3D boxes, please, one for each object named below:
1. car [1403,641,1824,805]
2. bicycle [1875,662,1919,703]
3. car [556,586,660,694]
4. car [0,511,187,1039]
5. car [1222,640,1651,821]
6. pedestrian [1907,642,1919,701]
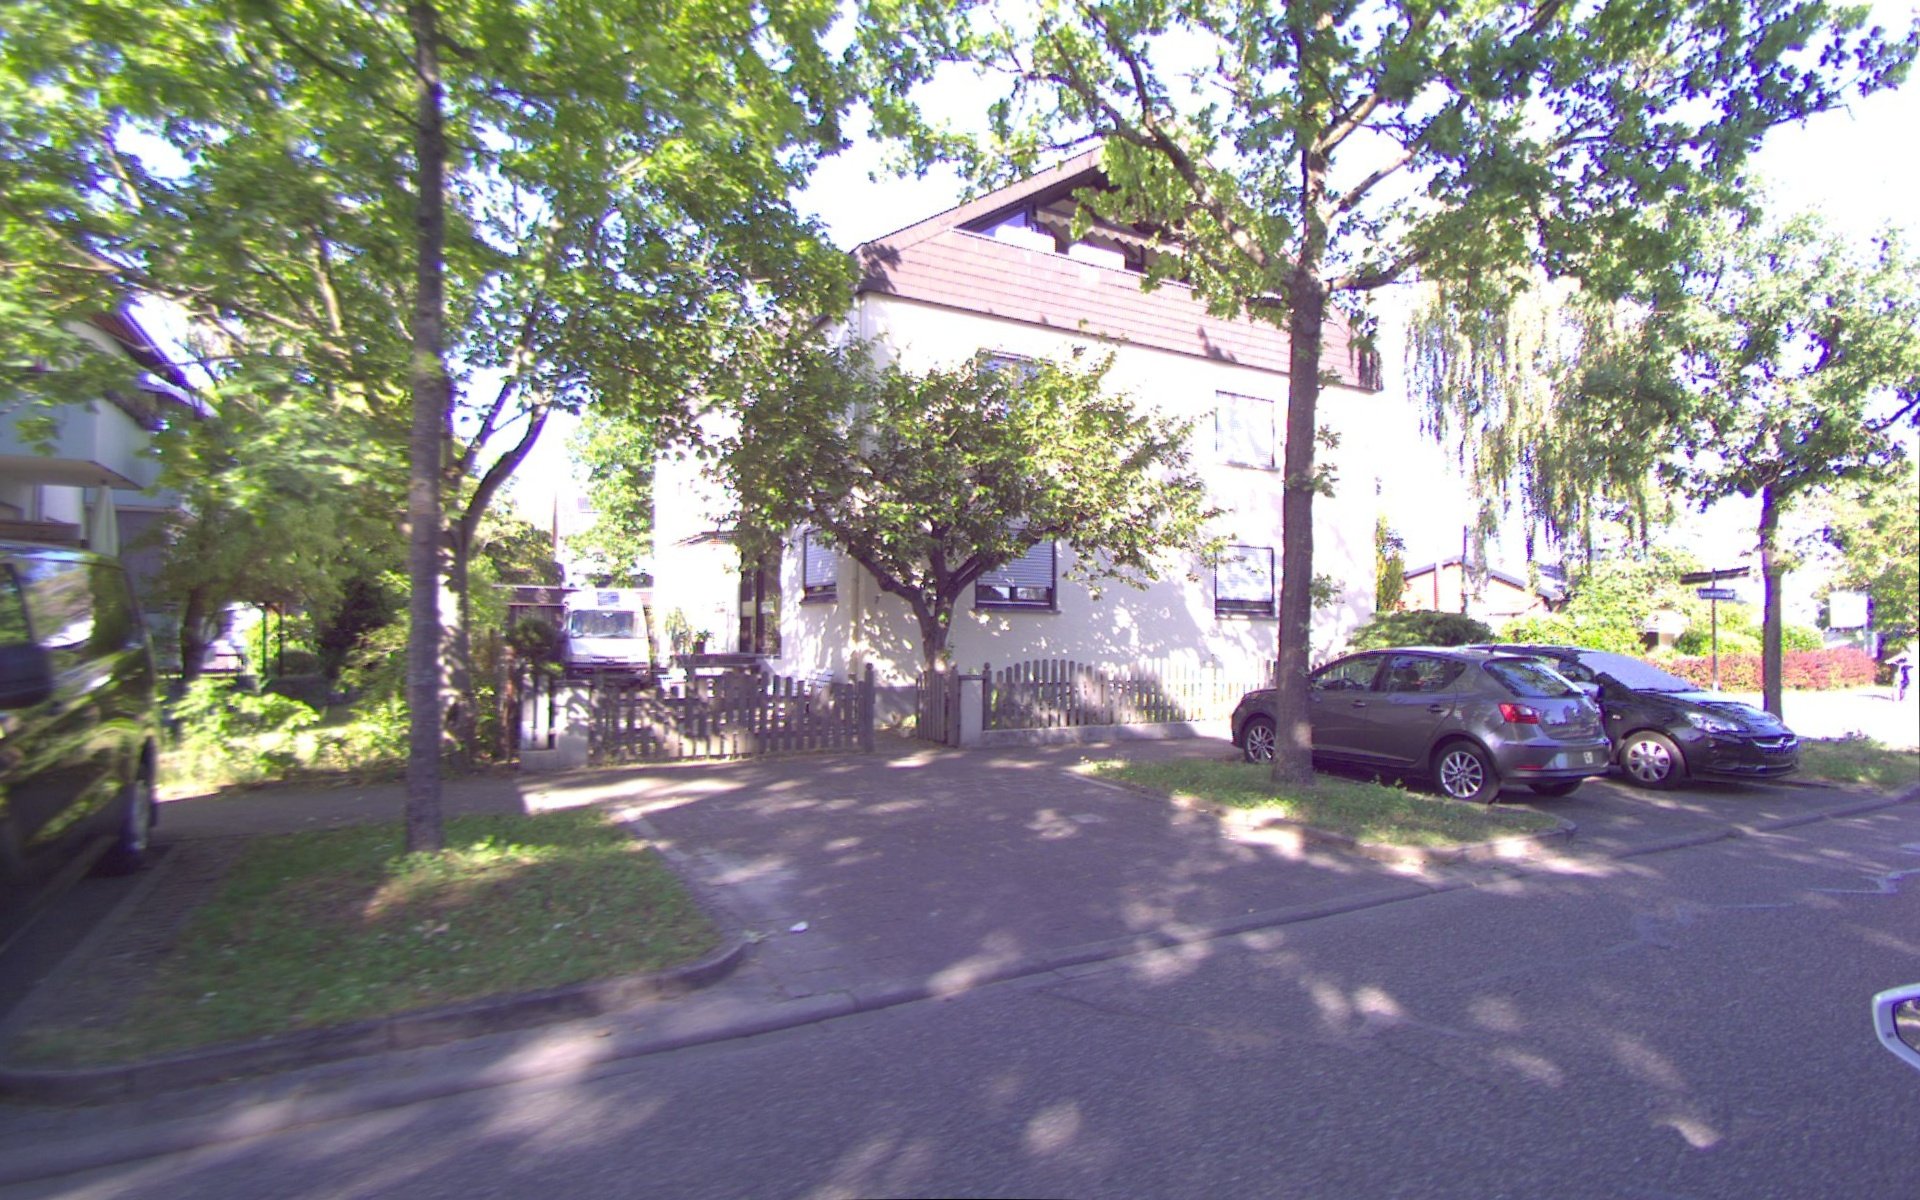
[{"bbox_3d":[7.430,1.281,11.837,1.692,1.478,3.842,1,-1,-28],"label":"car"},{"bbox_3d":[25.410,2.222,27.167,1.871,1.053,0.445,3,-3,-31],"label":"bicycle"},{"bbox_3d":[-8.957,1.021,25.355,2.000,2.457,4.362,2,-3,-25],"label":"car"},{"bbox_3d":[-5.024,0.645,4.326,1.995,1.942,4.757,1,-1,-30],"label":"car"},{"bbox_3d":[4.783,1.194,10.627,1.751,1.438,3.801,2,-1,-30],"label":"car"},{"bbox_3d":[25.777,1.917,26.871,0.791,1.577,0.439,2,-3,-30],"label":"pedestrian"}]
